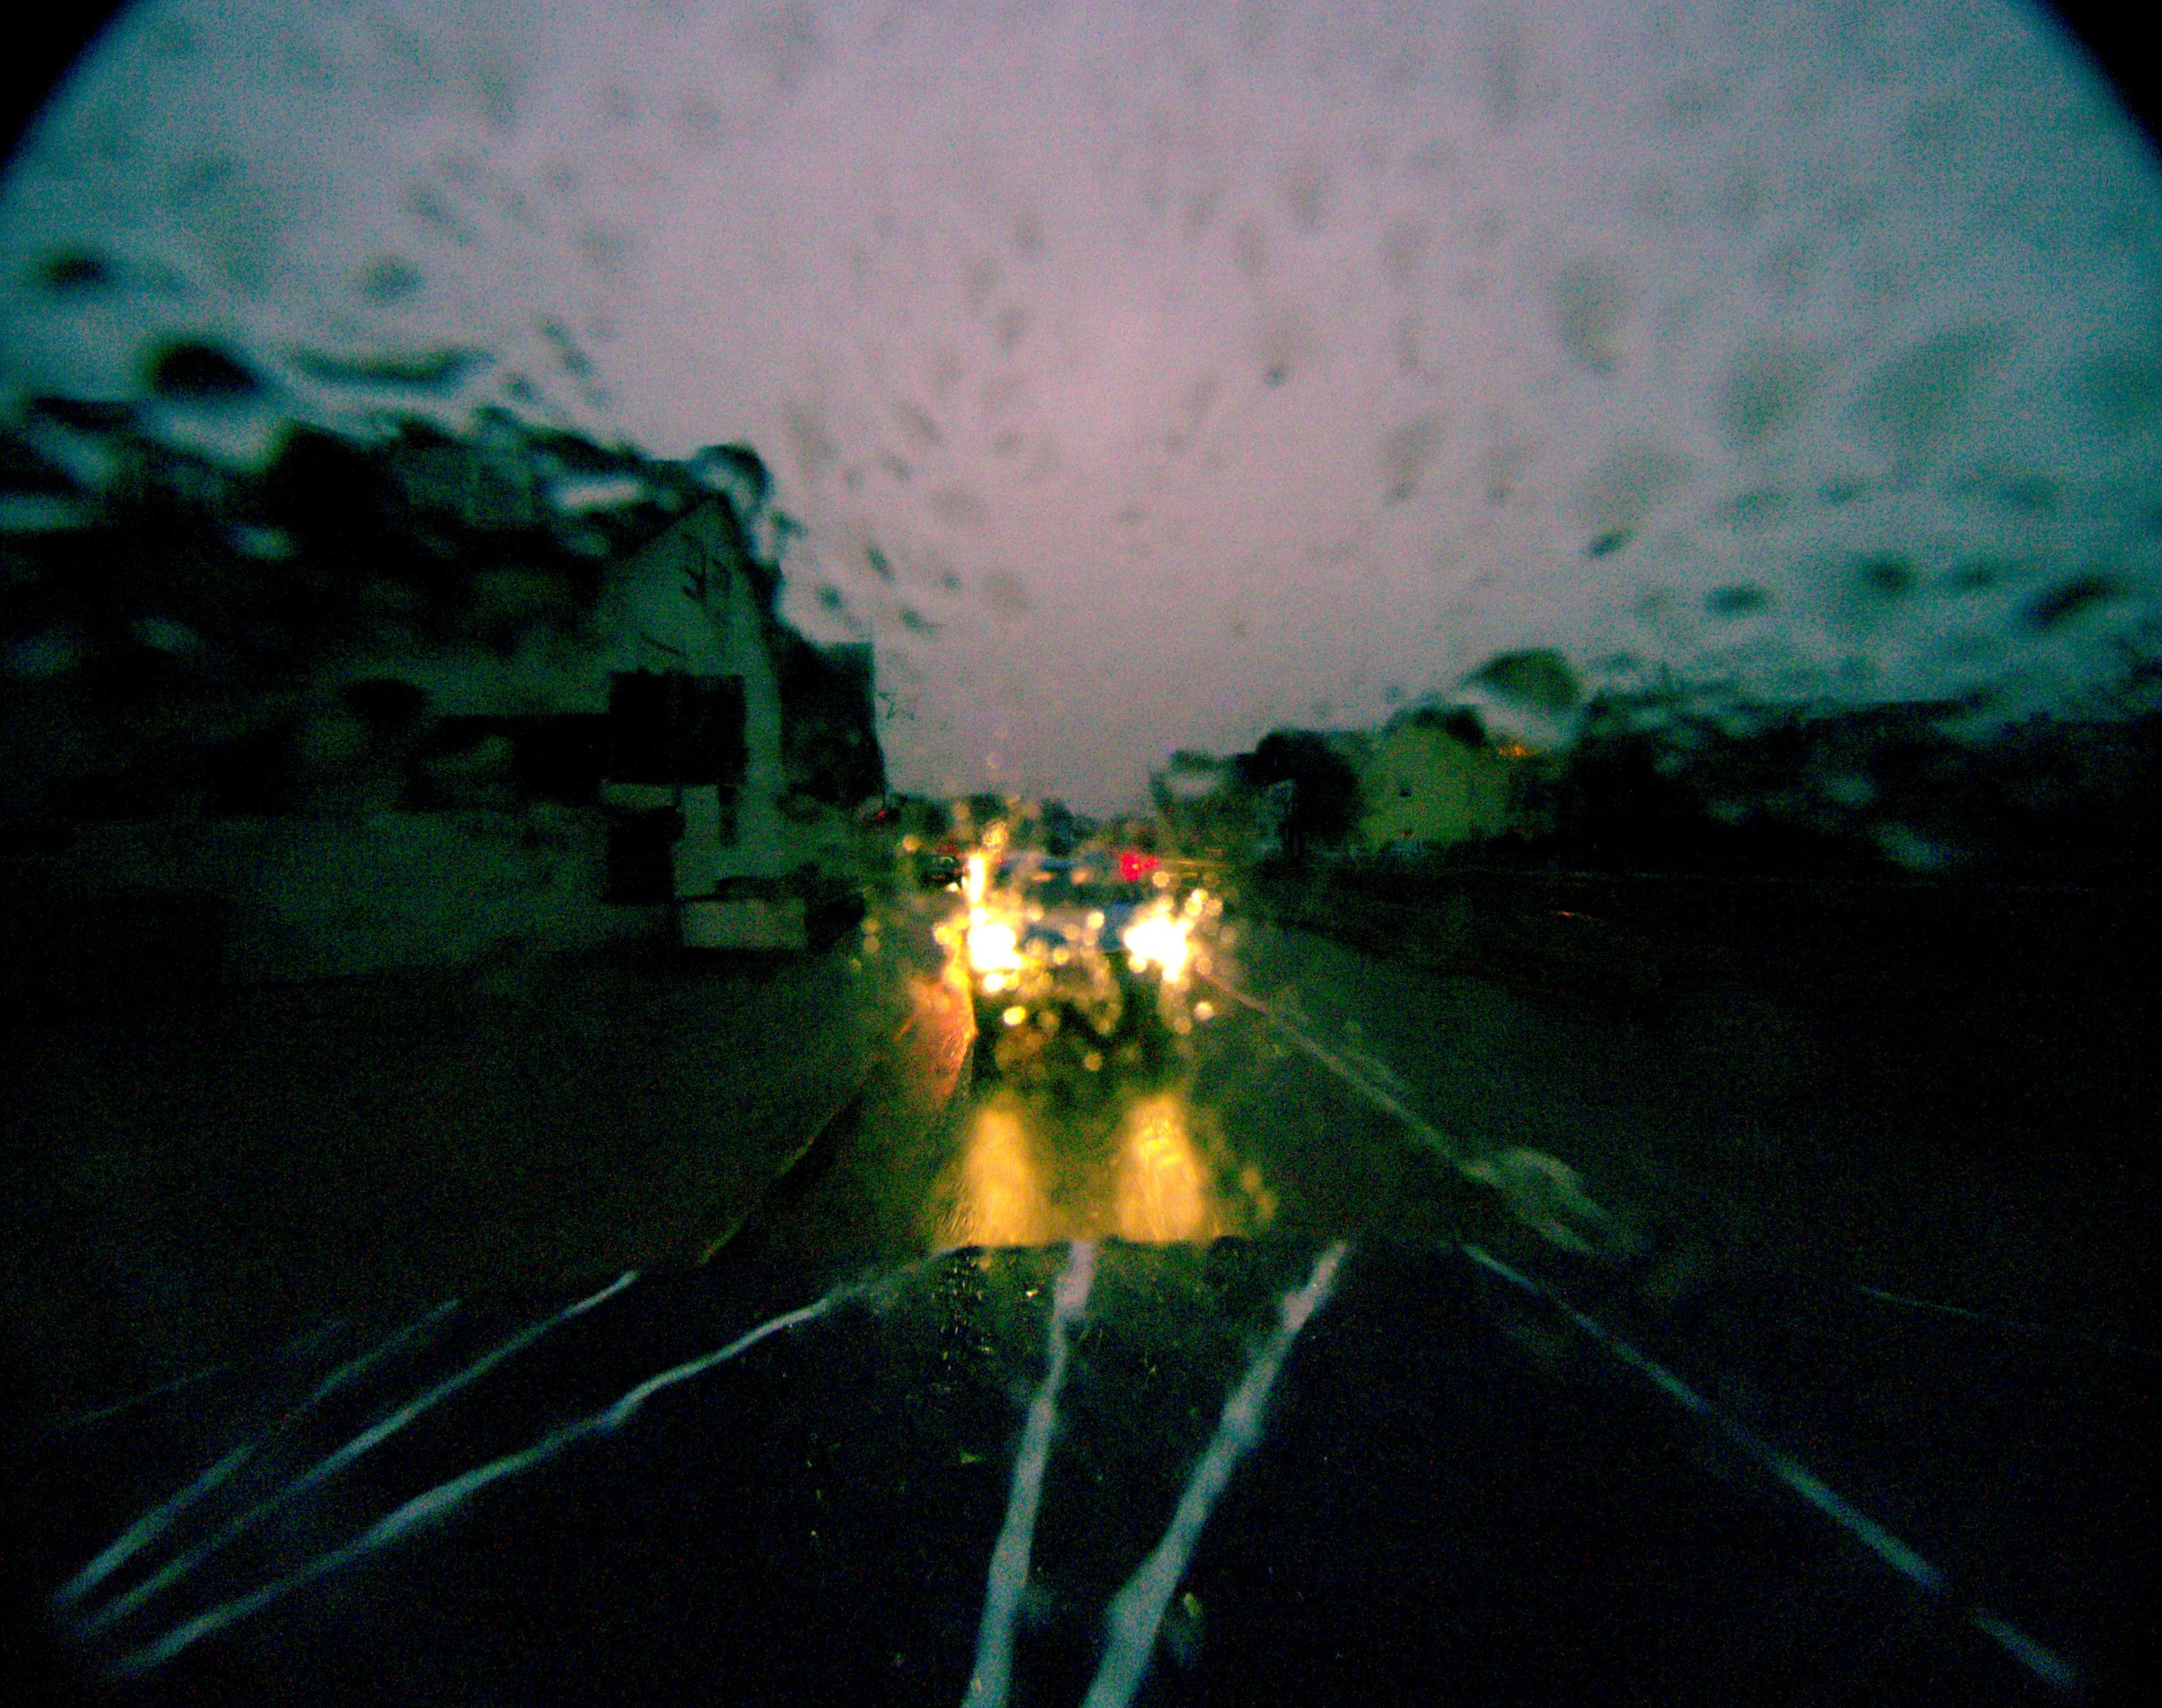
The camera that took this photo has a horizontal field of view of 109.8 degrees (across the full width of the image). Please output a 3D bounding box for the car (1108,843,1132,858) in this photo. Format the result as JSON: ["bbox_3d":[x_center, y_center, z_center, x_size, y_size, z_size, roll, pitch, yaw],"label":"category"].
[{"bbox_3d":[4.778,-0.413,92.985,1.823,1.615,3.980,-4,1,-13],"label":"car"}]

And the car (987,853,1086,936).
[{"bbox_3d":[-1.183,0.836,18.032,1.907,1.630,4.562,0,1,-9],"label":"car"}]

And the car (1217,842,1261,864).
[{"bbox_3d":[12.701,-0.110,61.370,1.865,1.672,3.995,-4,2,-13],"label":"car"}]

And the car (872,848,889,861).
[{"bbox_3d":[-26.277,0.079,99.343,1.815,1.555,4.297,-1,1,-19],"label":"car"}]

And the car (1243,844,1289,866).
[{"bbox_3d":[13.903,0.046,57.409,1.775,1.515,4.026,-1,2,-13],"label":"car"}]

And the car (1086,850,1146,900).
[{"bbox_3d":[1.198,0.706,27.690,1.742,1.643,3.999,-1,0,-3],"label":"car"}]

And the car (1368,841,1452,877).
[{"bbox_3d":[17.407,0.263,40.431,1.880,1.768,4.496,0,0,-12],"label":"car"}]

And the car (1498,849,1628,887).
[{"bbox_3d":[19.128,0.530,30.421,1.880,1.425,4.497,0,0,-10],"label":"car"}]

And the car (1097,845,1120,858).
[{"bbox_3d":[3.527,-0.355,97.897,1.903,1.509,3.994,-4,3,-13],"label":"car"}]

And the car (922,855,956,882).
[{"bbox_3d":[-7.629,0.760,40.652,1.651,1.407,2.724,1,0,-13],"label":"car"}]

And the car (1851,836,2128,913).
[{"bbox_3d":[20.769,0.392,17.632,1.570,1.571,3.817,0,1,-10],"label":"car"}]

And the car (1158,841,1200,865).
[{"bbox_3d":[7.636,-0.106,59.436,1.806,1.793,3.854,-1,2,-17],"label":"car"}]

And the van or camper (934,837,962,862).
[{"bbox_3d":[-15.029,-0.518,85.607,2.249,2.653,6.544,-1,1,-18],"label":"van or camper"}]

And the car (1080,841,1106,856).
[{"bbox_3d":[1.639,-0.744,105.015,2.001,1.894,4.350,-5,2,-20],"label":"car"}]

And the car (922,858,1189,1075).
[{"bbox_3d":[-0.333,0.876,7.913,1.999,1.526,3.998,-3,1,-4],"label":"car"}]

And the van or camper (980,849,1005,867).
[{"bbox_3d":[-7.116,0.304,60.595,1.568,1.347,3.417,-1,1,-14],"label":"van or camper"}]

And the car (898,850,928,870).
[{"bbox_3d":[-14.740,0.516,66.439,1.964,1.524,5.000,-4,2,-18],"label":"car"}]

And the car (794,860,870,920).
[{"bbox_3d":[-6.739,0.902,20.561,1.772,1.385,3.907,0,0,-18],"label":"car"}]

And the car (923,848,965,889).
[{"bbox_3d":[-6.275,0.628,35.003,1.775,1.771,3.996,1,0,-9],"label":"car"}]

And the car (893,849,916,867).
[{"bbox_3d":[-16.984,0.374,72.914,1.671,1.567,4.489,-1,1,-19],"label":"car"}]

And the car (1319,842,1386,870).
[{"bbox_3d":[16.377,0.119,46.083,1.880,1.589,4.220,0,0,-12],"label":"car"}]

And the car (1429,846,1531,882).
[{"bbox_3d":[18.427,0.435,35.355,1.880,1.563,4.497,0,0,-10],"label":"car"}]

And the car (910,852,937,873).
[{"bbox_3d":[-11.673,0.582,56.218,1.659,1.446,4.231,1,0,-16],"label":"car"}]
